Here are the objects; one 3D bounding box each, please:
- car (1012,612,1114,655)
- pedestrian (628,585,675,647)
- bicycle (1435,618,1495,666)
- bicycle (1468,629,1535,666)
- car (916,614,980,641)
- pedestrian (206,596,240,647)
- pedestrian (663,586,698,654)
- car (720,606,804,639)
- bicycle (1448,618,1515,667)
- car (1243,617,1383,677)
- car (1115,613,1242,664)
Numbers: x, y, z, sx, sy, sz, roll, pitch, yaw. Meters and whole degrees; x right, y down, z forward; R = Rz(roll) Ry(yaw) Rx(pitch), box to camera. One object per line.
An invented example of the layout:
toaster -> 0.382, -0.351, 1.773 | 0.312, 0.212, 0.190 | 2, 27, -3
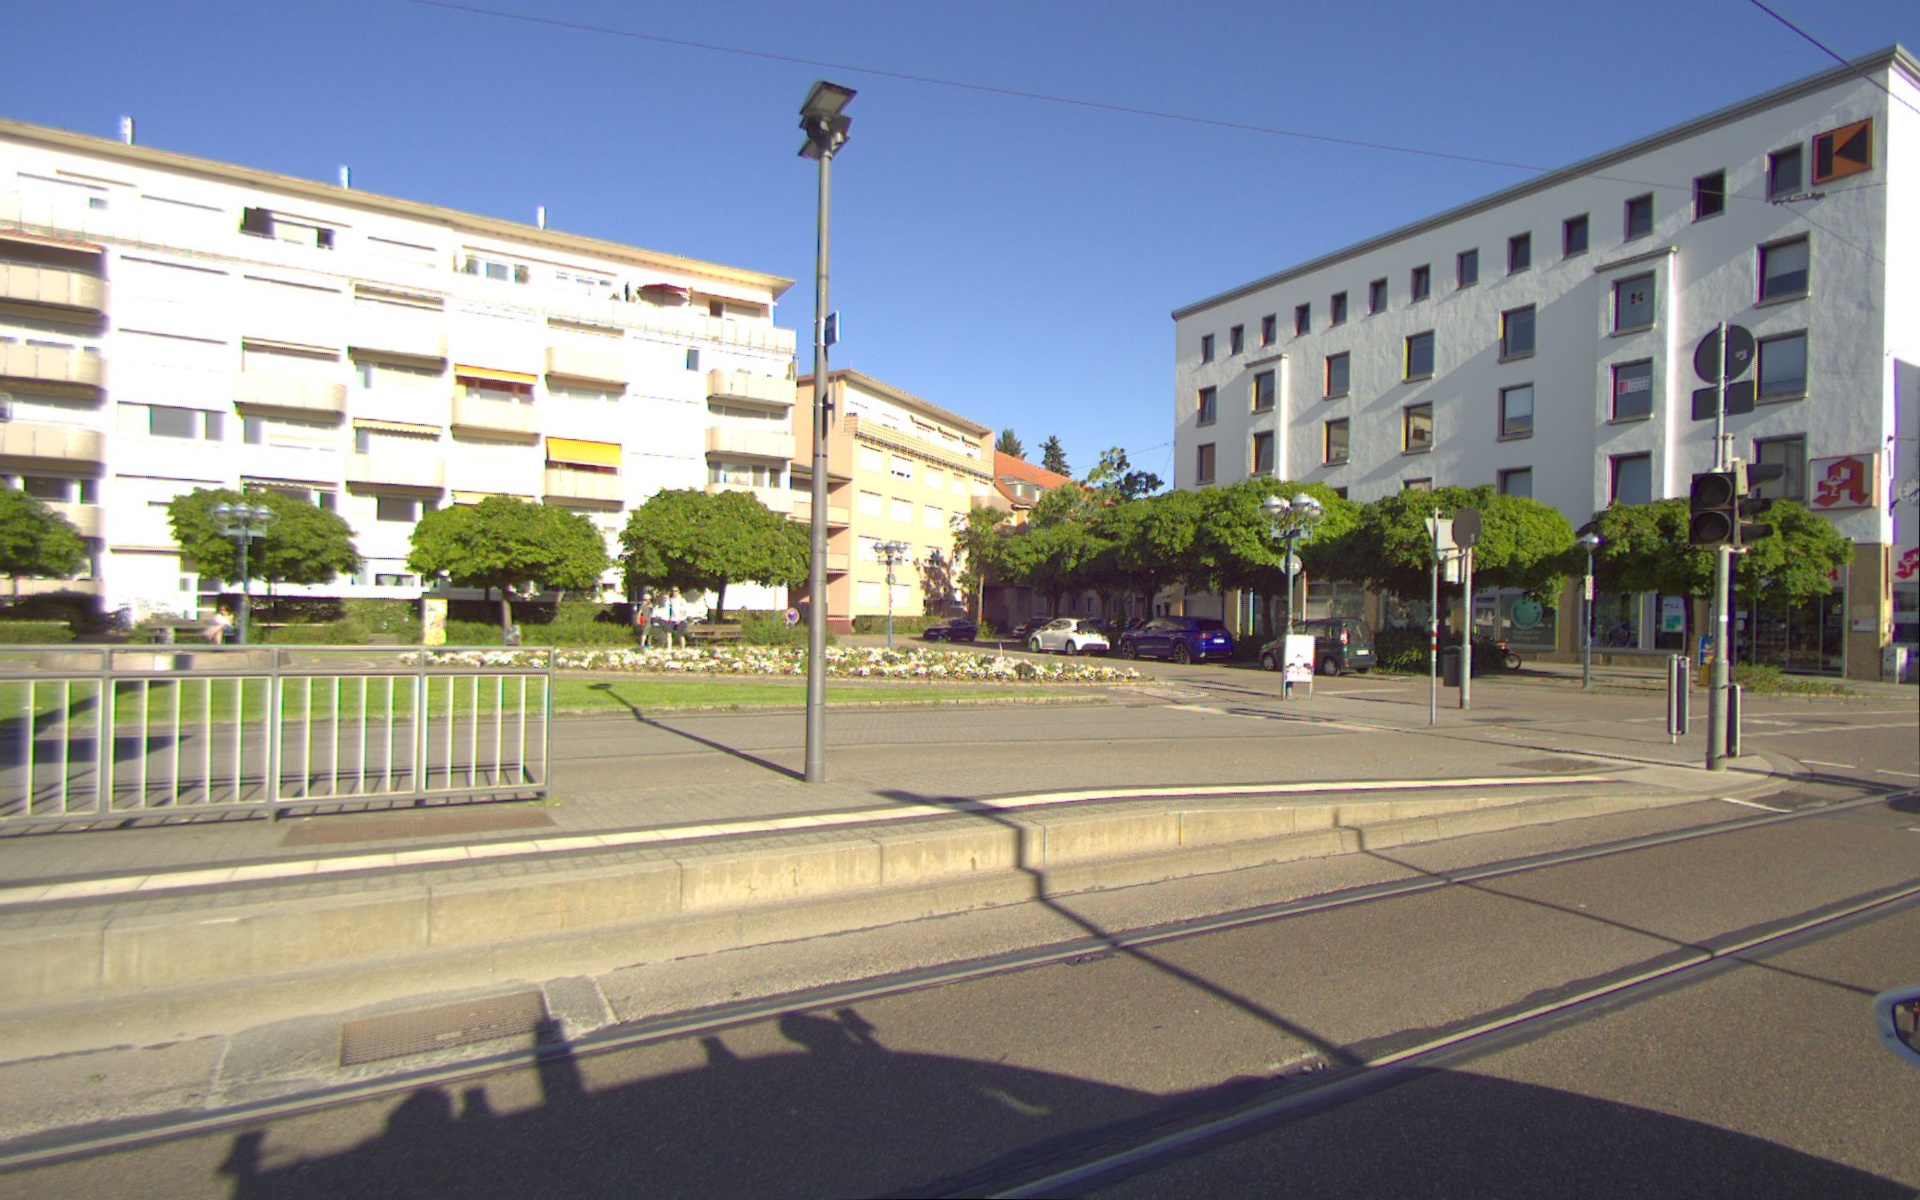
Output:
car -> 4.235, 1.371, 42.011 | 1.835, 1.628, 4.581 | 2, -1, -31
pedestrian -> -10.329, 0.539, 33.627 | 1.219, 2.040, 1.214 | 2, -1, -30
bicycle -> 17.703, 1.460, 35.186 | 2.591, 1.628, 0.614 | 2, -1, -32
bicycle -> 18.266, 1.618, 33.881 | 2.586, 1.206, 0.615 | 2, -1, -27
car -> -0.670, 1.659, 61.074 | 1.887, 1.514, 4.343 | 2, 0, 31
pedestrian -> -20.344, 0.596, 27.736 | 0.672, 1.378, 1.042 | 2, -1, -34
pedestrian -> -7.766, 0.563, 27.856 | 0.856, 1.841, 0.944 | 1, -1, -18
car -> -8.654, 0.996, 44.020 | 3.271, 1.372, 1.638 | 2, -1, -29
bicycle -> 17.942, 1.464, 34.526 | 2.585, 1.628, 0.616 | 2, -1, -26
car -> 11.119, 1.433, 31.878 | 1.804, 1.728, 3.968 | 2, -1, -30
car -> 7.929, 1.375, 36.874 | 1.978, 1.684, 4.581 | 2, -1, -31
